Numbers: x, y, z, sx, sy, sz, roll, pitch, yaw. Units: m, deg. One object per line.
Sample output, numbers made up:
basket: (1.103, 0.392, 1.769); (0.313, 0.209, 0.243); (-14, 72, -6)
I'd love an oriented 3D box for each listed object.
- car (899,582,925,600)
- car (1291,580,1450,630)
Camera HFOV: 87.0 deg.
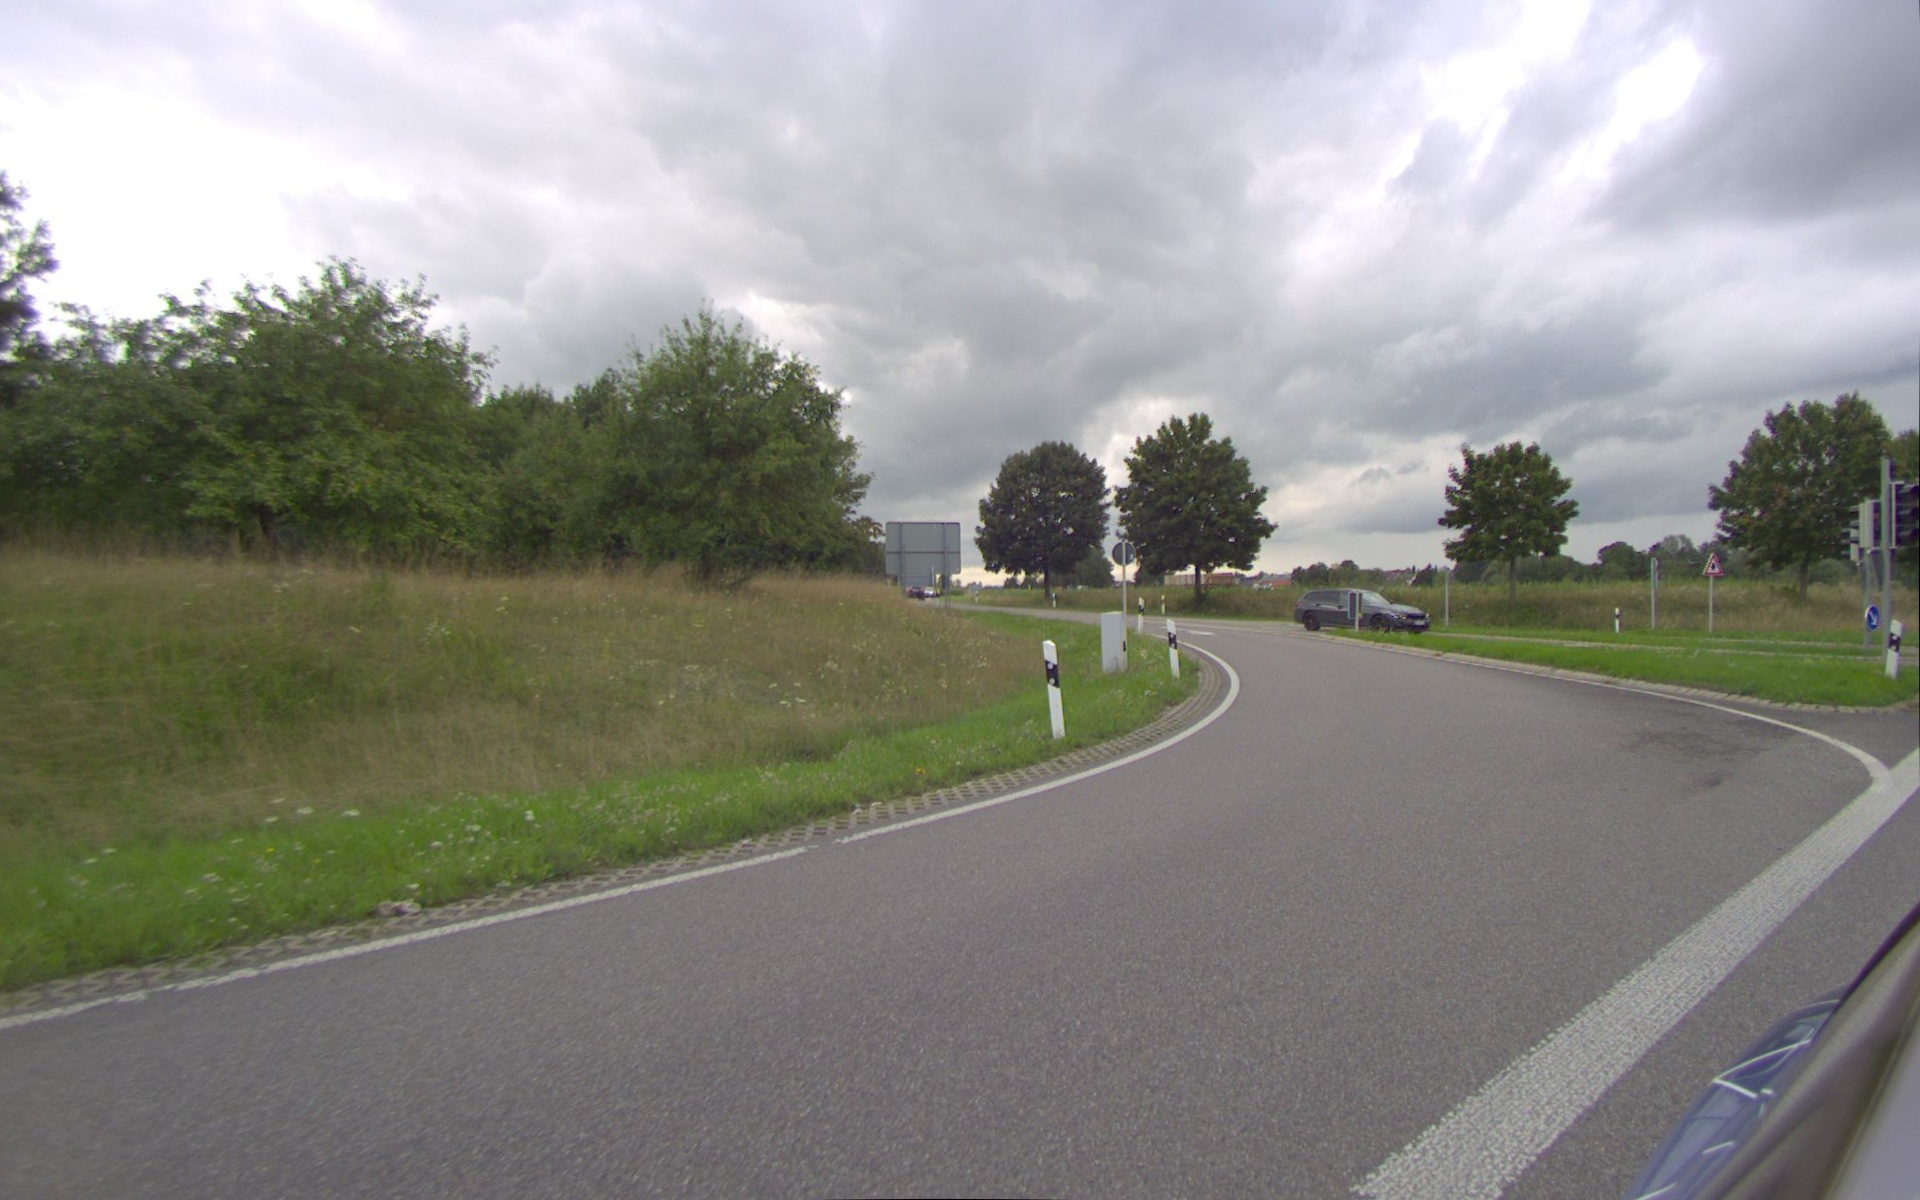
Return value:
car: (-4.286, -0.799, 90.104); (1.776, 1.469, 4.279); (-1, -1, -10)
car: (13.395, 0.110, 33.308); (1.960, 1.522, 4.673); (0, 1, -29)
